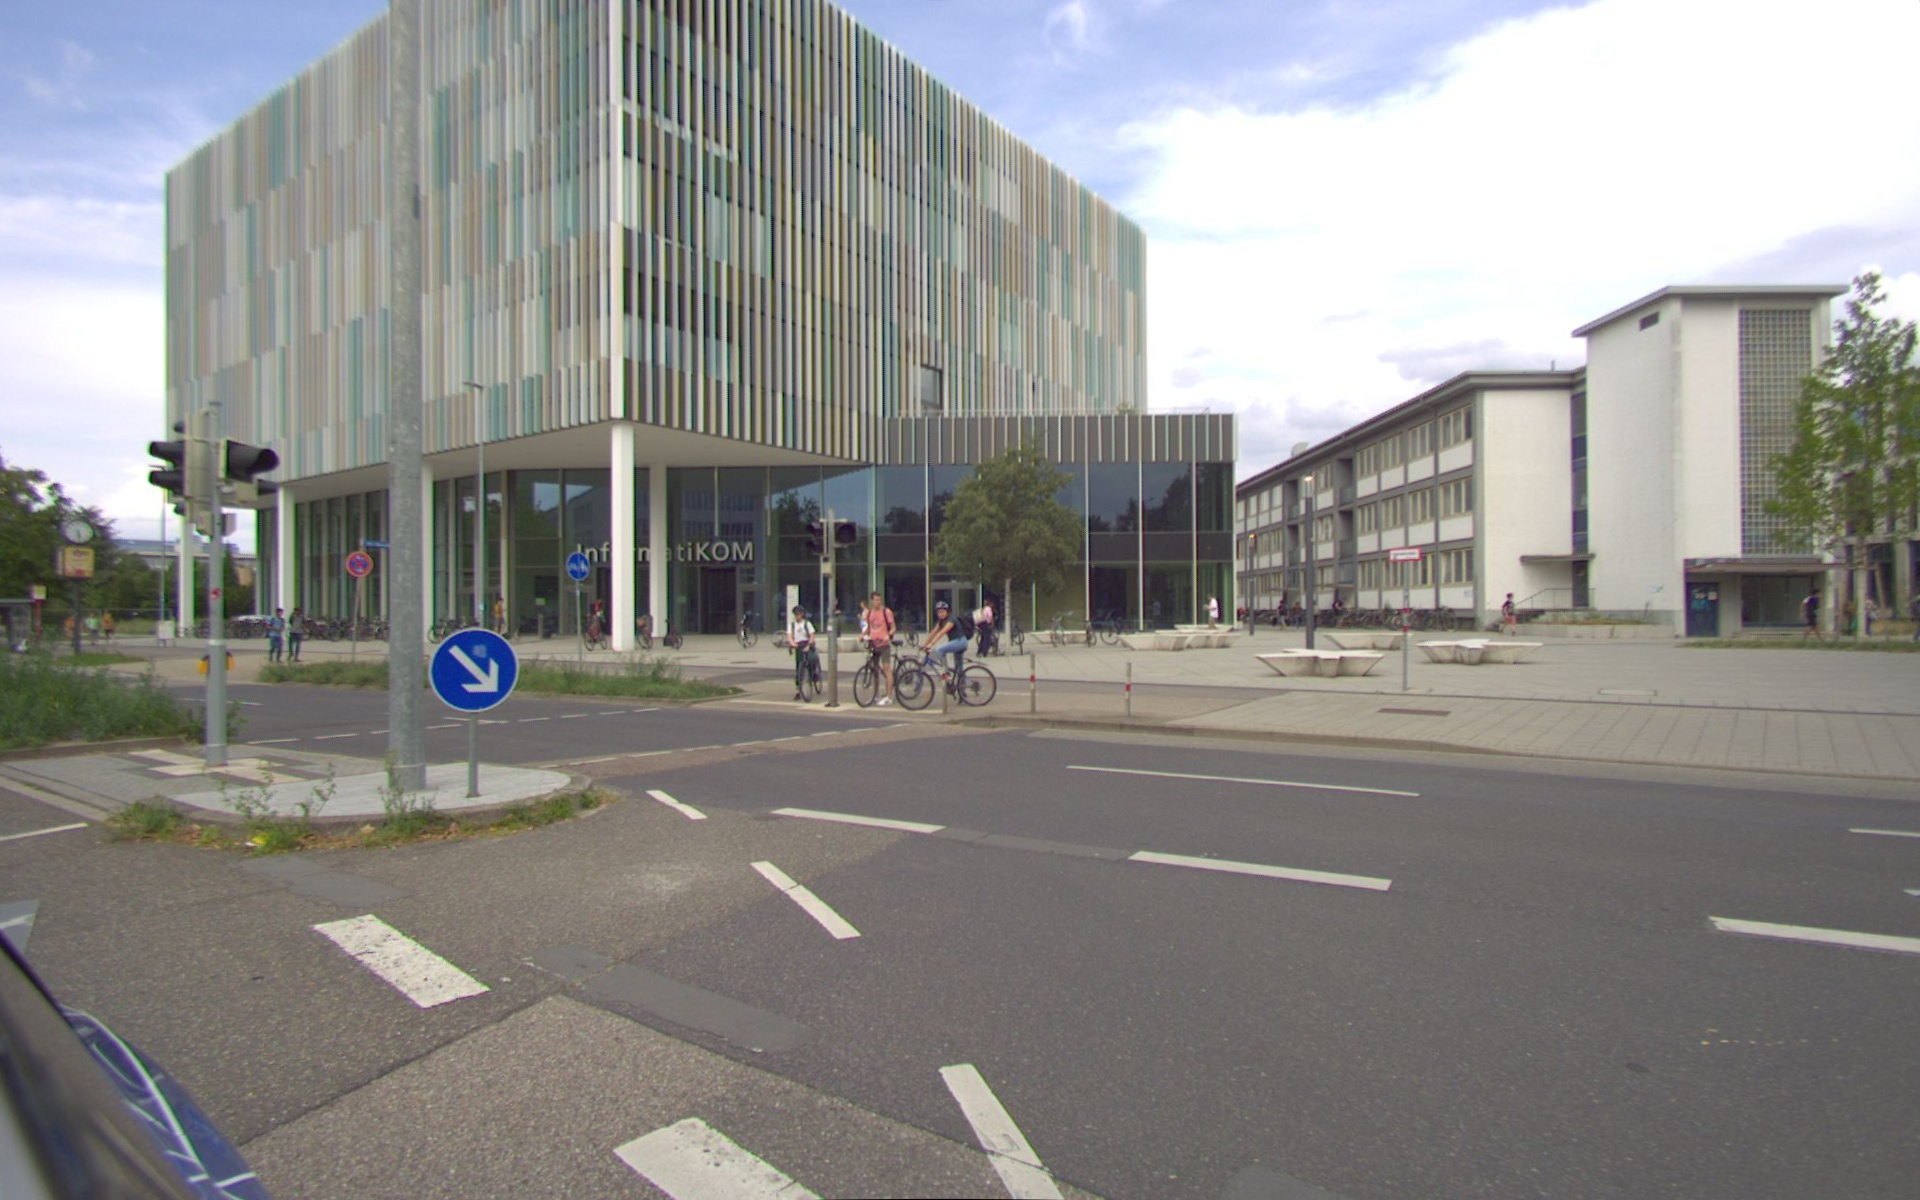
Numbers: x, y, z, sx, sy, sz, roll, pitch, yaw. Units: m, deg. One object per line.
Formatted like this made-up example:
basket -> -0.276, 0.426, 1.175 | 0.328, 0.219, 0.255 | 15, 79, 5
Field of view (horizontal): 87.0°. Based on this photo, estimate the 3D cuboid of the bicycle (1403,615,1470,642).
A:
bicycle -> 21.554, 1.297, 45.817 | 2.637, 1.142, 0.745 | -1, -1, 2

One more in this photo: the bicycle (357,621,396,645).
bicycle -> -27.600, 1.563, 47.880 | 0.388, 1.031, 1.566 | -1, 1, 31

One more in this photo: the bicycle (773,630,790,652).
bicycle -> -6.442, 1.472, 36.464 | 0.387, 0.678, 1.801 | -2, 1, -17

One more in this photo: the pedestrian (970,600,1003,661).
pedestrian -> 0.695, 0.799, 26.801 | 0.574, 1.593, 0.644 | -2, -1, 41

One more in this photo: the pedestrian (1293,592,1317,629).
pedestrian -> 18.520, 0.585, 54.346 | 0.962, 1.945, 1.070 | -1, -1, 2

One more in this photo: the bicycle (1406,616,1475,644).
bicycle -> 21.166, 1.316, 44.627 | 2.637, 1.142, 0.745 | -1, -1, 2

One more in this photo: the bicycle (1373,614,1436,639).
bicycle -> 21.595, 1.267, 49.190 | 2.637, 1.142, 0.745 | -1, -1, 2

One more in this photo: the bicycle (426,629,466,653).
bicycle -> -21.653, 1.722, 42.666 | 0.392, 0.944, 1.530 | -1, 1, 31

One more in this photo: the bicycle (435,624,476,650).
bicycle -> -21.079, 1.532, 42.310 | 0.398, 1.002, 1.530 | -1, 1, 32

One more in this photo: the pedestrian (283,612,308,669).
pedestrian -> -21.839, 1.322, 33.256 | 0.623, 1.851, 0.506 | -3, -2, 36

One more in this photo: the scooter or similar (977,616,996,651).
scooter or similar -> 0.972, 1.215, 36.773 | 0.588, 1.207, 2.123 | -1, -1, 4

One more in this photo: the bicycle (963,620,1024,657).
bicycle -> 0.914, 1.053, 27.819 | 1.747, 1.006, 0.434 | -2, -1, 39

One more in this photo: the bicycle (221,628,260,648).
bicycle -> -40.183, 2.104, 56.532 | 0.433, 1.031, 1.686 | -1, 1, 31

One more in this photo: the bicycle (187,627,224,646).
bicycle -> -44.897, 2.181, 60.217 | 0.433, 1.031, 1.686 | -1, 1, 31

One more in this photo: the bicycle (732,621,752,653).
bicycle -> -7.766, 1.318, 36.072 | 0.388, 1.037, 1.547 | -2, 1, -1

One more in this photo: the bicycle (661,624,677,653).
bicycle -> -10.397, 1.373, 36.182 | 0.387, 0.944, 1.603 | -2, 1, -21

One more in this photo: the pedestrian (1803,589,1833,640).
pedestrian -> 26.503, 0.438, 31.275 | 0.657, 1.560, 0.700 | -1, -1, 42

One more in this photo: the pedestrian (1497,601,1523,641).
pedestrian -> 21.649, 0.821, 39.836 | 0.589, 1.560, 0.659 | -1, -1, -12

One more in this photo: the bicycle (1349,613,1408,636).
bicycle -> 21.428, 1.248, 51.848 | 2.637, 1.142, 0.745 | -1, -1, 2

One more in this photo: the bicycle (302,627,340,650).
bicycle -> -31.810, 1.921, 50.410 | 0.388, 1.031, 1.566 | -1, 1, 31

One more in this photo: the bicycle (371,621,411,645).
bicycle -> -25.940, 1.499, 46.164 | 0.388, 1.031, 1.566 | -1, 1, 31

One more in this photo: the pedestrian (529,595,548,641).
pedestrian -> -18.731, 0.801, 44.999 | 0.623, 2.059, 0.506 | -3, -2, 35

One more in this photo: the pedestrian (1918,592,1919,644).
pedestrian -> 29.232, 0.524, 30.322 | 0.736, 1.560, 0.694 | -1, -1, 42

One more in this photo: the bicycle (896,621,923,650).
bicycle -> -1.784, 1.238, 35.681 | 0.613, 0.992, 2.255 | -1, -1, -11

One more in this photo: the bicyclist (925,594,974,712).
bicyclist -> -0.164, 0.826, 16.141 | 0.558, 1.820, 0.597 | -1, 1, 22

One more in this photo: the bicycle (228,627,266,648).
bicycle -> -39.487, 2.073, 56.046 | 0.433, 1.031, 1.686 | -1, 1, 31

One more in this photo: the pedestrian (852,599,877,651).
pedestrian -> -3.040, 0.797, 32.209 | 0.670, 1.612, 0.729 | -1, -1, 5

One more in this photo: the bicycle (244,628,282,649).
bicycle -> -38.031, 2.087, 55.260 | 0.388, 1.031, 1.686 | -1, 1, 31

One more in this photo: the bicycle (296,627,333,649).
bicycle -> -32.350, 1.899, 50.733 | 0.388, 1.031, 1.565 | -1, -1, 31

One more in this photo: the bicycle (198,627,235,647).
bicycle -> -43.653, 2.159, 59.415 | 0.433, 1.031, 1.686 | -1, 1, 31

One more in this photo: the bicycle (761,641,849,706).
bicycle -> -2.736, 1.278, 18.051 | 0.724, 0.996, 1.809 | -1, 1, 22

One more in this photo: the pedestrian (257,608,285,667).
pedestrian -> -22.237, 1.211, 32.647 | 0.771, 1.851, 0.506 | -3, -2, 36

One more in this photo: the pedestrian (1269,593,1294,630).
pedestrian -> 17.150, 0.619, 53.990 | 0.962, 1.945, 1.070 | -1, -1, 2

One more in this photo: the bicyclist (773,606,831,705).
bicyclist -> -2.791, 0.960, 17.933 | 0.719, 1.685, 0.723 | -1, 1, 22

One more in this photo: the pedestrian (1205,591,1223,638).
pedestrian -> 10.006, 0.569, 39.872 | 0.630, 1.792, 0.594 | -1, -1, 12

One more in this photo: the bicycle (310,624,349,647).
bicycle -> -30.311, 1.690, 48.675 | 0.388, 1.031, 1.566 | -1, 1, 31

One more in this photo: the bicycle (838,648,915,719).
bicycle -> -1.372, 1.363, 16.883 | 0.568, 0.996, 1.680 | -1, 1, 22

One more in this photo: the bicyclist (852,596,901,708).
bicyclist -> -1.388, 0.856, 16.871 | 0.558, 1.820, 0.597 | -1, 1, 22

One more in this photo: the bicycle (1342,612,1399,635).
bicycle -> 21.502, 1.236, 53.082 | 2.637, 1.142, 0.745 | -1, -1, 2

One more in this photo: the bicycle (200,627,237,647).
bicycle -> -43.045, 2.151, 58.759 | 0.433, 1.031, 1.686 | -1, 1, 31

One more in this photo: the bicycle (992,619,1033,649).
bicycle -> 1.874, 1.183, 35.910 | 0.668, 1.007, 2.664 | -1, -1, 21

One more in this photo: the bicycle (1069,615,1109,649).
bicycle -> 4.522, 1.101, 35.267 | 0.791, 1.097, 2.664 | -1, -1, 21

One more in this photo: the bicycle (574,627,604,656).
bicycle -> -13.319, 1.488, 36.321 | 0.389, 0.944, 1.610 | -2, 1, 3

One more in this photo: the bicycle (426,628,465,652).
bicycle -> -22.080, 1.719, 43.460 | 0.388, 0.944, 1.530 | -1, 1, 31

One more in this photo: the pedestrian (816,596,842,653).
pedestrian -> -4.139, 0.764, 31.965 | 0.669, 1.753, 0.730 | -1, -1, 2

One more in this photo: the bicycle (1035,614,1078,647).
bicycle -> 3.427, 1.045, 35.706 | 0.791, 1.097, 2.664 | -1, -1, 21

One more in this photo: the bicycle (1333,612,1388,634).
bicycle -> 21.533, 1.224, 54.439 | 2.637, 1.142, 0.745 | -1, -1, 2

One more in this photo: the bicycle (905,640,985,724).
bicycle -> -0.209, 1.263, 16.072 | 0.602, 1.179, 1.882 | -1, -1, 21

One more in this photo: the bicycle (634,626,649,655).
bicycle -> -11.327, 1.434, 35.984 | 0.387, 0.944, 1.603 | -2, 1, -21

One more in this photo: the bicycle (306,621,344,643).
bicycle -> -31.462, 1.582, 50.173 | 0.388, 1.031, 1.566 | -1, 1, 31

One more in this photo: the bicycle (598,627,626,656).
bicycle -> -12.775, 1.510, 37.167 | 0.389, 0.944, 1.597 | -2, 1, 3
